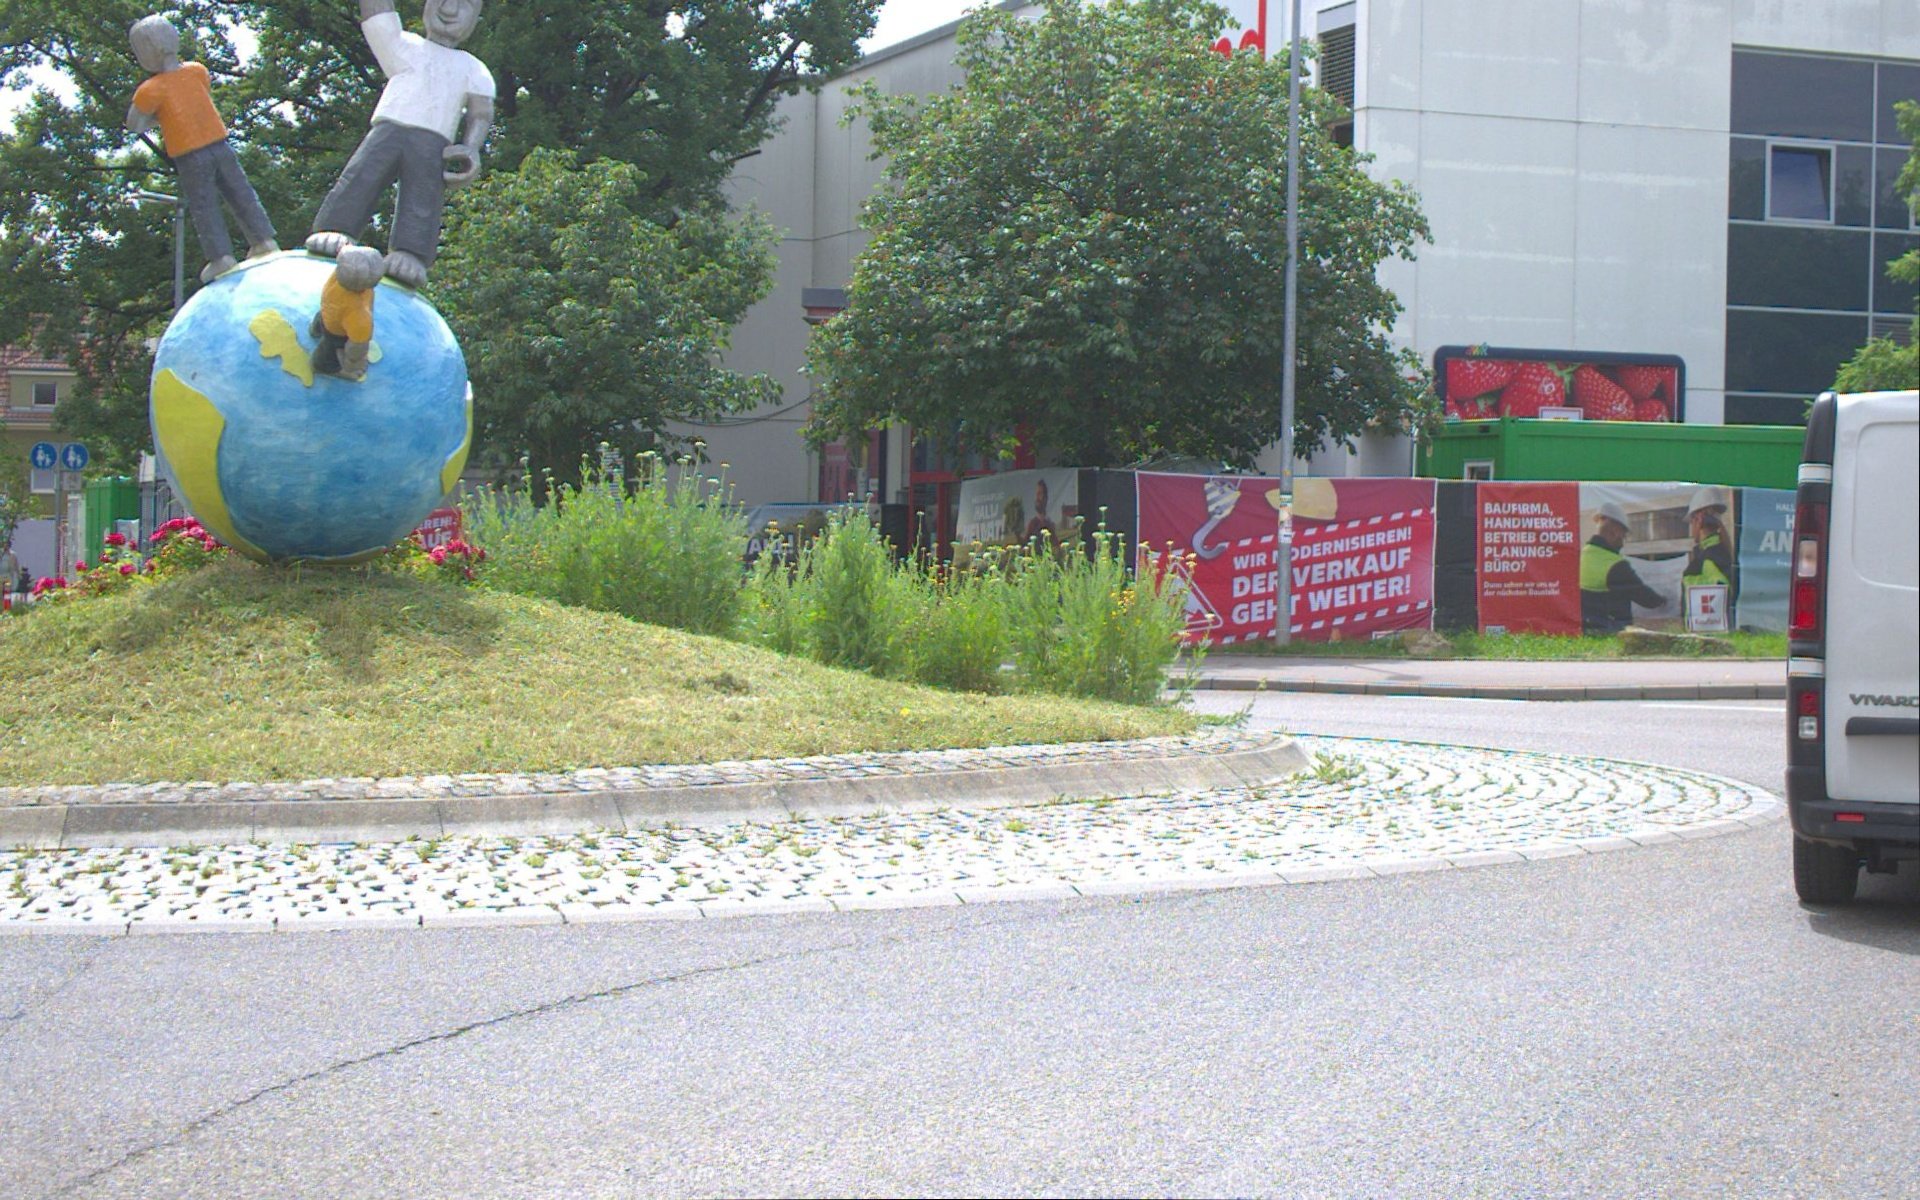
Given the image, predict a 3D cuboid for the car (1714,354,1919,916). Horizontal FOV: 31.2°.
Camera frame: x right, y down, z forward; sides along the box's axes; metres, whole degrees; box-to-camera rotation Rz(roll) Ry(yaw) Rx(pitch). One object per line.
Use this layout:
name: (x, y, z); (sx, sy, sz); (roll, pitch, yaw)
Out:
car: (4.596, 0.160, 14.161); (2.037, 1.939, 4.987); (3, 1, 22)
